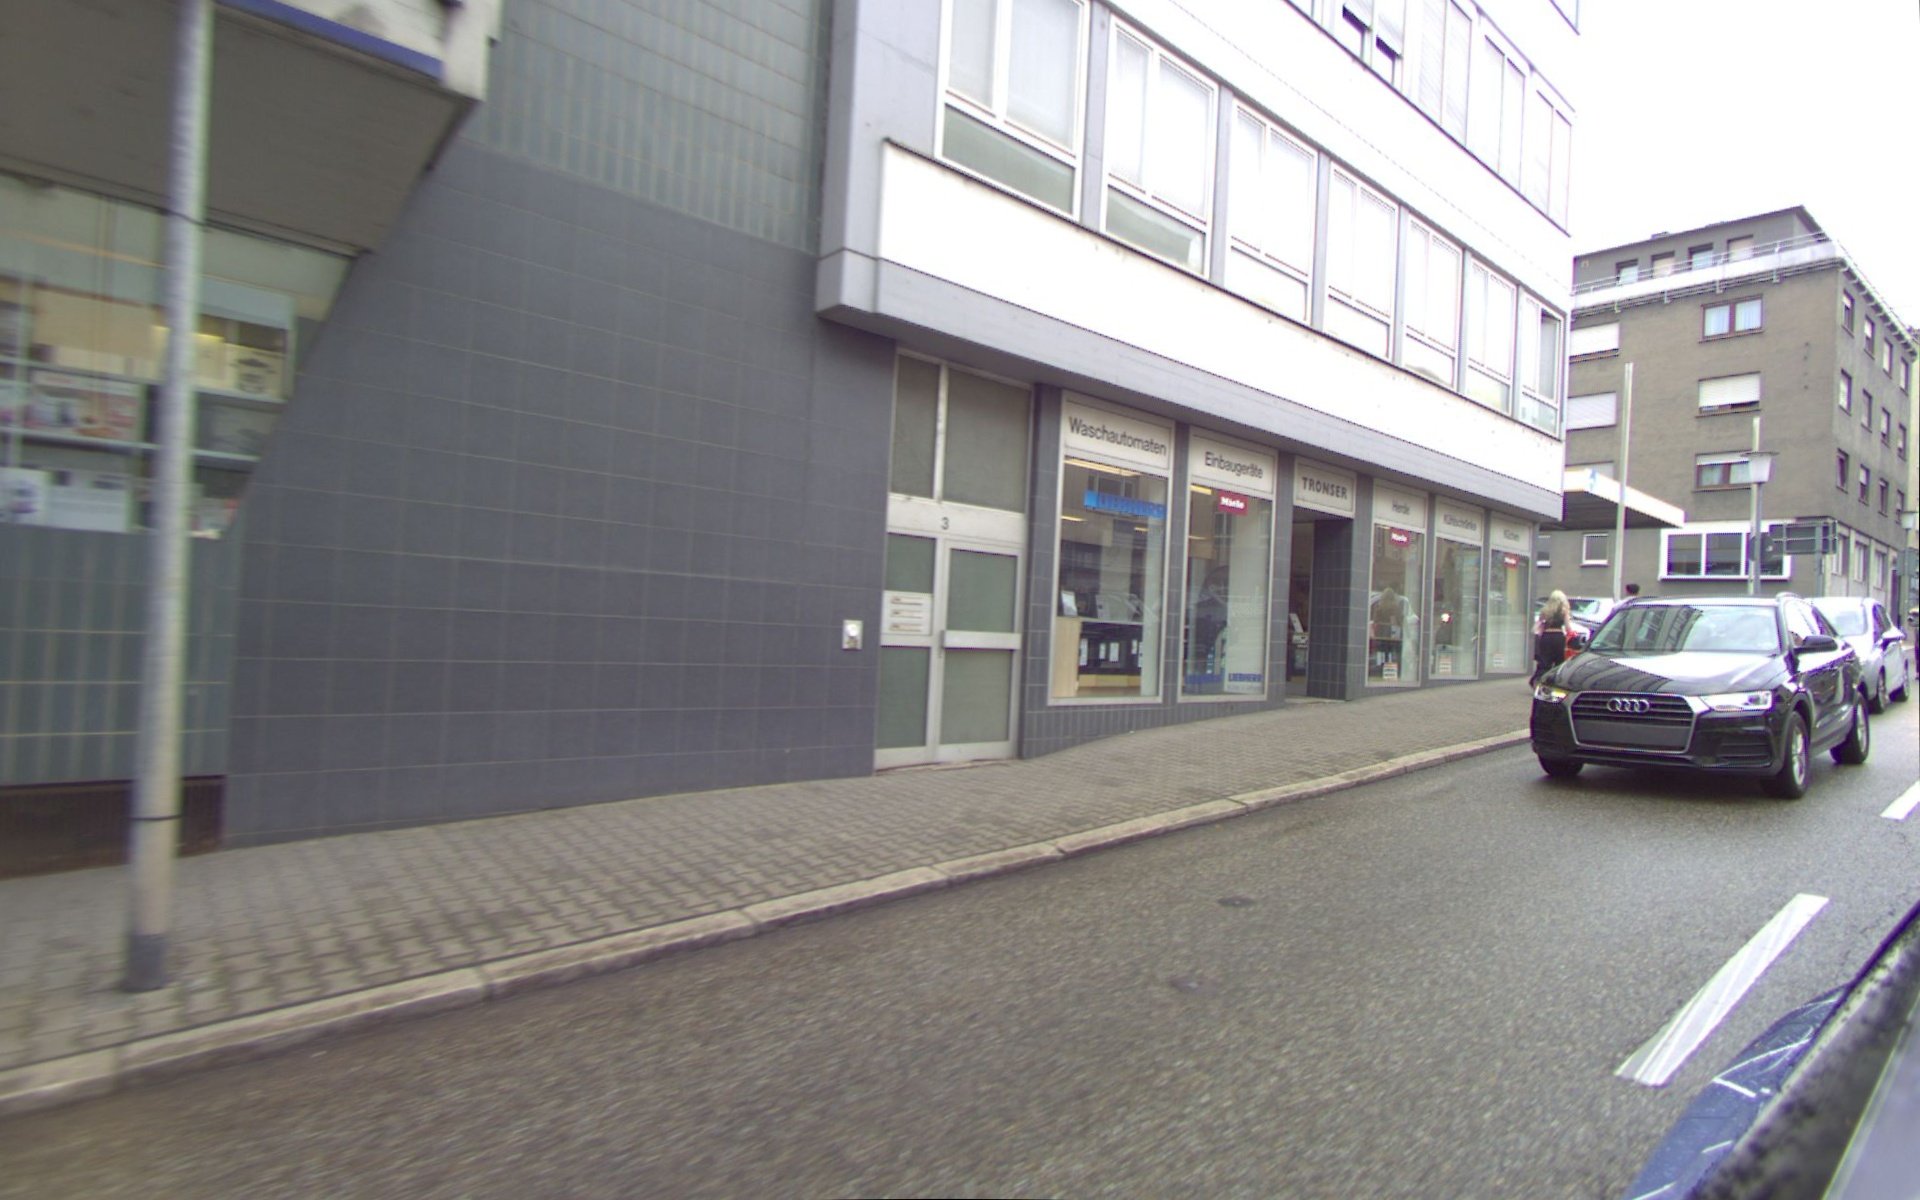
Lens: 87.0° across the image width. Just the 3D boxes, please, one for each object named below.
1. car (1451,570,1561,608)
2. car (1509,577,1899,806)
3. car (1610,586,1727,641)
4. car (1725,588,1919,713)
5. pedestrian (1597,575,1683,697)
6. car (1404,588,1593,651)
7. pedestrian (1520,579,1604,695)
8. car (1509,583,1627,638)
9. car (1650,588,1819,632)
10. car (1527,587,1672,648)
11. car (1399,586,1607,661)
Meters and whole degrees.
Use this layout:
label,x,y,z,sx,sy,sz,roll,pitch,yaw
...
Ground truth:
label,x,y,z,sx,sy,sz,roll,pitch,yaw
car,23.473,-0.494,43.628,1.761,1.472,3.753,2,0,-37
car,6.764,0.631,9.041,4.127,1.580,1.826,-1,-1,-40
car,21.384,0.349,30.481,4.358,1.531,1.792,0,1,-40
car,12.751,0.659,14.777,4.182,1.561,1.827,0,-3,-44
pedestrian,10.187,0.501,15.162,1.102,1.726,0.785,-1,3,-43
car,13.278,0.427,25.043,3.976,1.418,1.649,1,1,36
pedestrian,8.681,0.499,14.590,0.876,1.570,0.766,-1,3,-43
car,19.355,0.356,32.141,4.339,1.530,1.793,2,3,-40
car,28.369,0.395,37.208,1.962,1.523,4.534,0,-1,-36
car,16.900,0.403,26.675,4.530,1.433,1.793,0,2,-38
car,12.193,0.464,22.801,3.973,1.549,1.742,1,1,35
